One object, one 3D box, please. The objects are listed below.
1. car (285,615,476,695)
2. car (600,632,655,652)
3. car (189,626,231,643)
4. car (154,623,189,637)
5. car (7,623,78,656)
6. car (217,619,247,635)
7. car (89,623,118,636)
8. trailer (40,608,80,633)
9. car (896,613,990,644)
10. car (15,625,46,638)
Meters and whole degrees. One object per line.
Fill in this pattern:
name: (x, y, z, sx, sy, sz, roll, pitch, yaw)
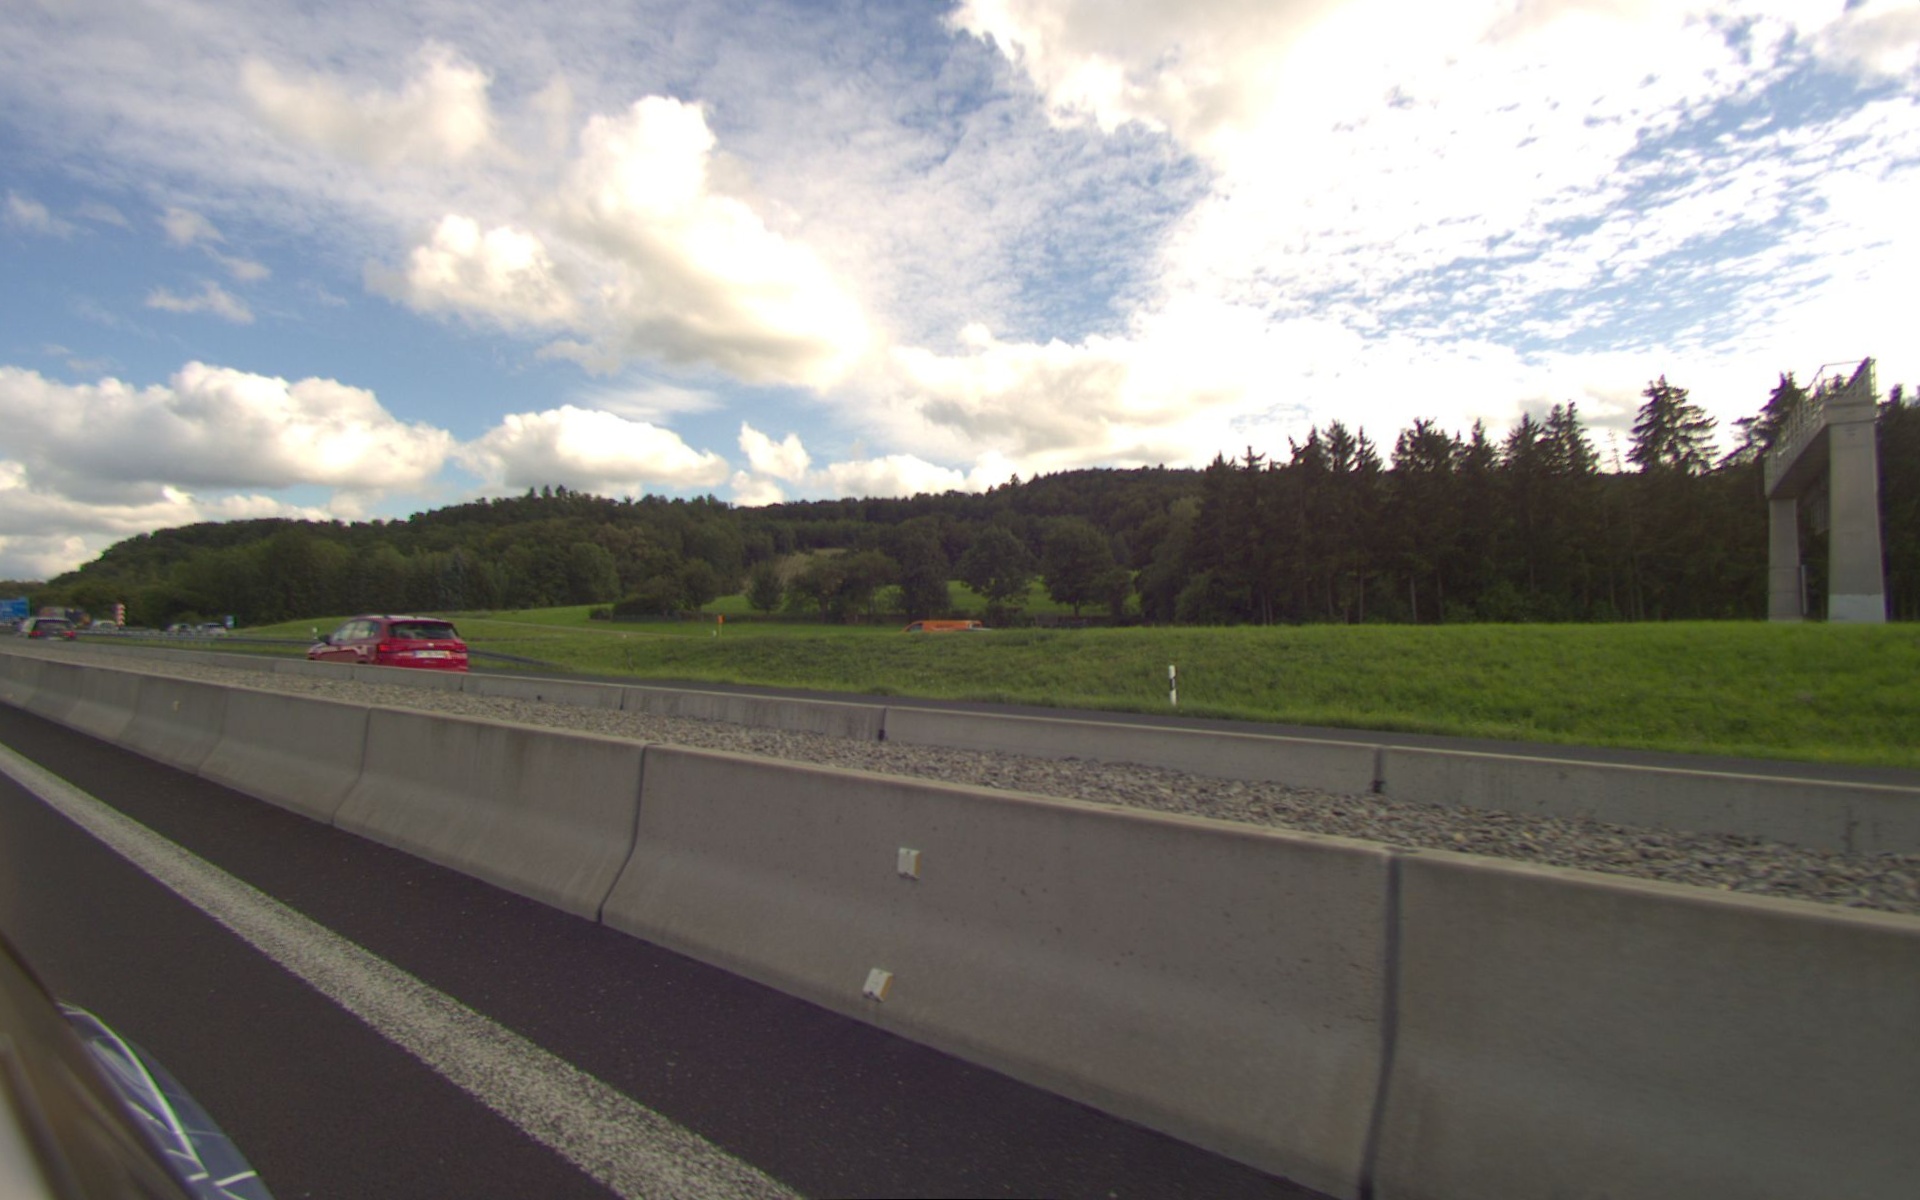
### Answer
car: (-11.615, 1.035, 20.147, 4.796, 1.409, 1.769, -1, -3, 41)
car: (-27.571, 3.436, 83.802, 4.879, 1.560, 1.757, -1, -3, 35)
car: (-70.832, 3.223, 95.567, 4.879, 1.560, 1.757, -1, -3, 35)
car: (-90.505, 3.481, 116.151, 4.879, 1.560, 1.757, -1, -3, 35)
car: (-41.689, 1.760, 45.952, 4.722, 1.409, 1.769, -1, -3, 41)
car: (-95.352, 3.539, 132.530, 3.993, 2.029, 1.975, -1, -3, 37)
car: (-113.901, 3.919, 134.644, 4.879, 1.560, 1.757, -1, -3, 35)
trailer: (-140.551, 3.247, 157.946, 13.221, 3.765, 1.975, -1, -3, 37)
car: (-0.927, 1.472, 53.261, 4.879, 1.560, 1.757, -1, -3, 35)
car: (-113.768, 3.819, 123.869, 4.879, 1.560, 1.757, -1, -3, 35)
